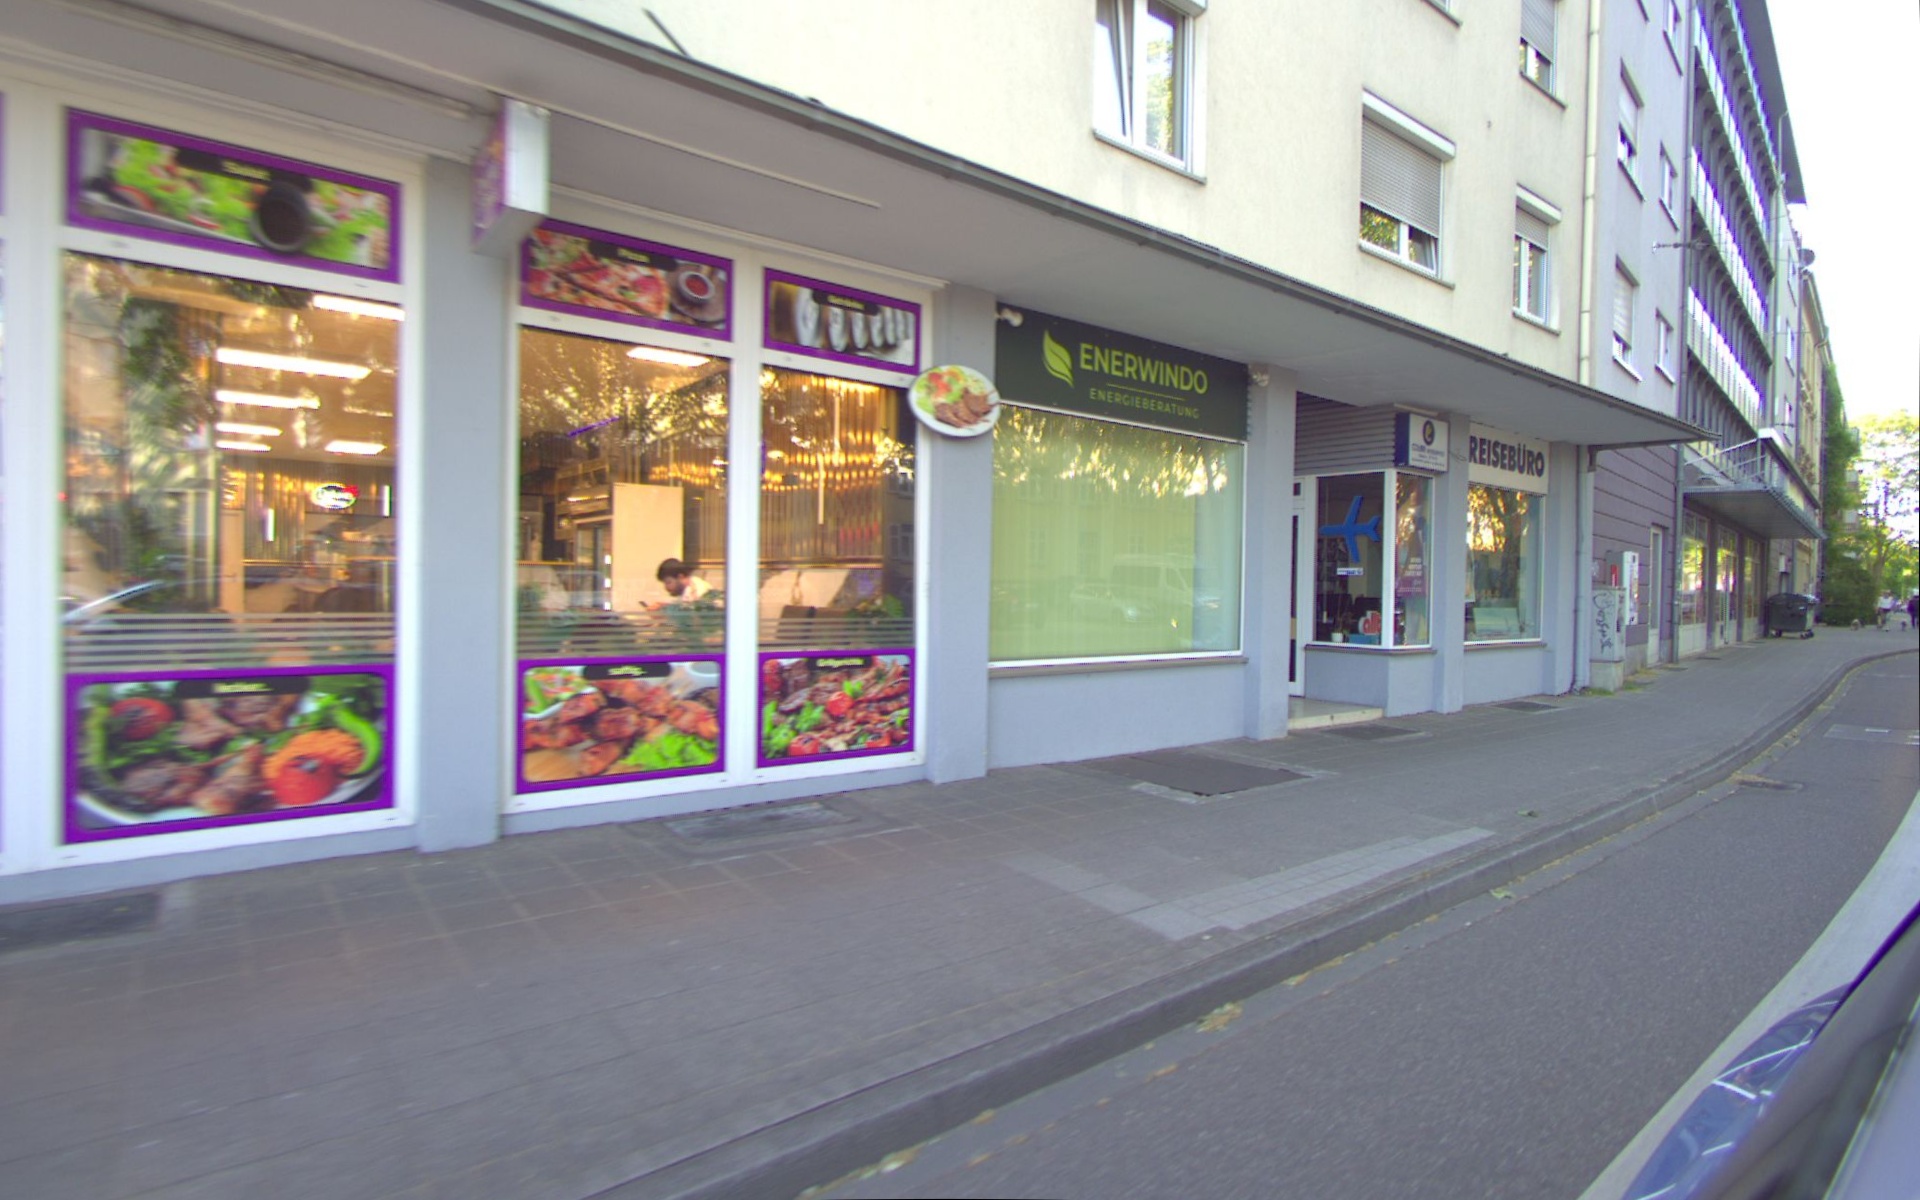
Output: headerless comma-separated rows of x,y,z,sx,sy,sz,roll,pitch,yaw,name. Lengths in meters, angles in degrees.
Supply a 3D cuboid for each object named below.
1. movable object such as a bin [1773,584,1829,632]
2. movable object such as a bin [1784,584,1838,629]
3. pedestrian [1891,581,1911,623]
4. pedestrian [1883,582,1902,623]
26.593,0.236,31.995,1.349,1.427,1.202,0,1,-44,movable object such as a bin
28.030,0.195,33.336,1.349,1.427,1.202,0,1,-44,movable object such as a bin
39.132,0.071,42.077,0.620,1.693,0.540,0,1,-44,pedestrian
40.512,0.108,43.976,0.620,1.743,0.540,0,1,-44,pedestrian
